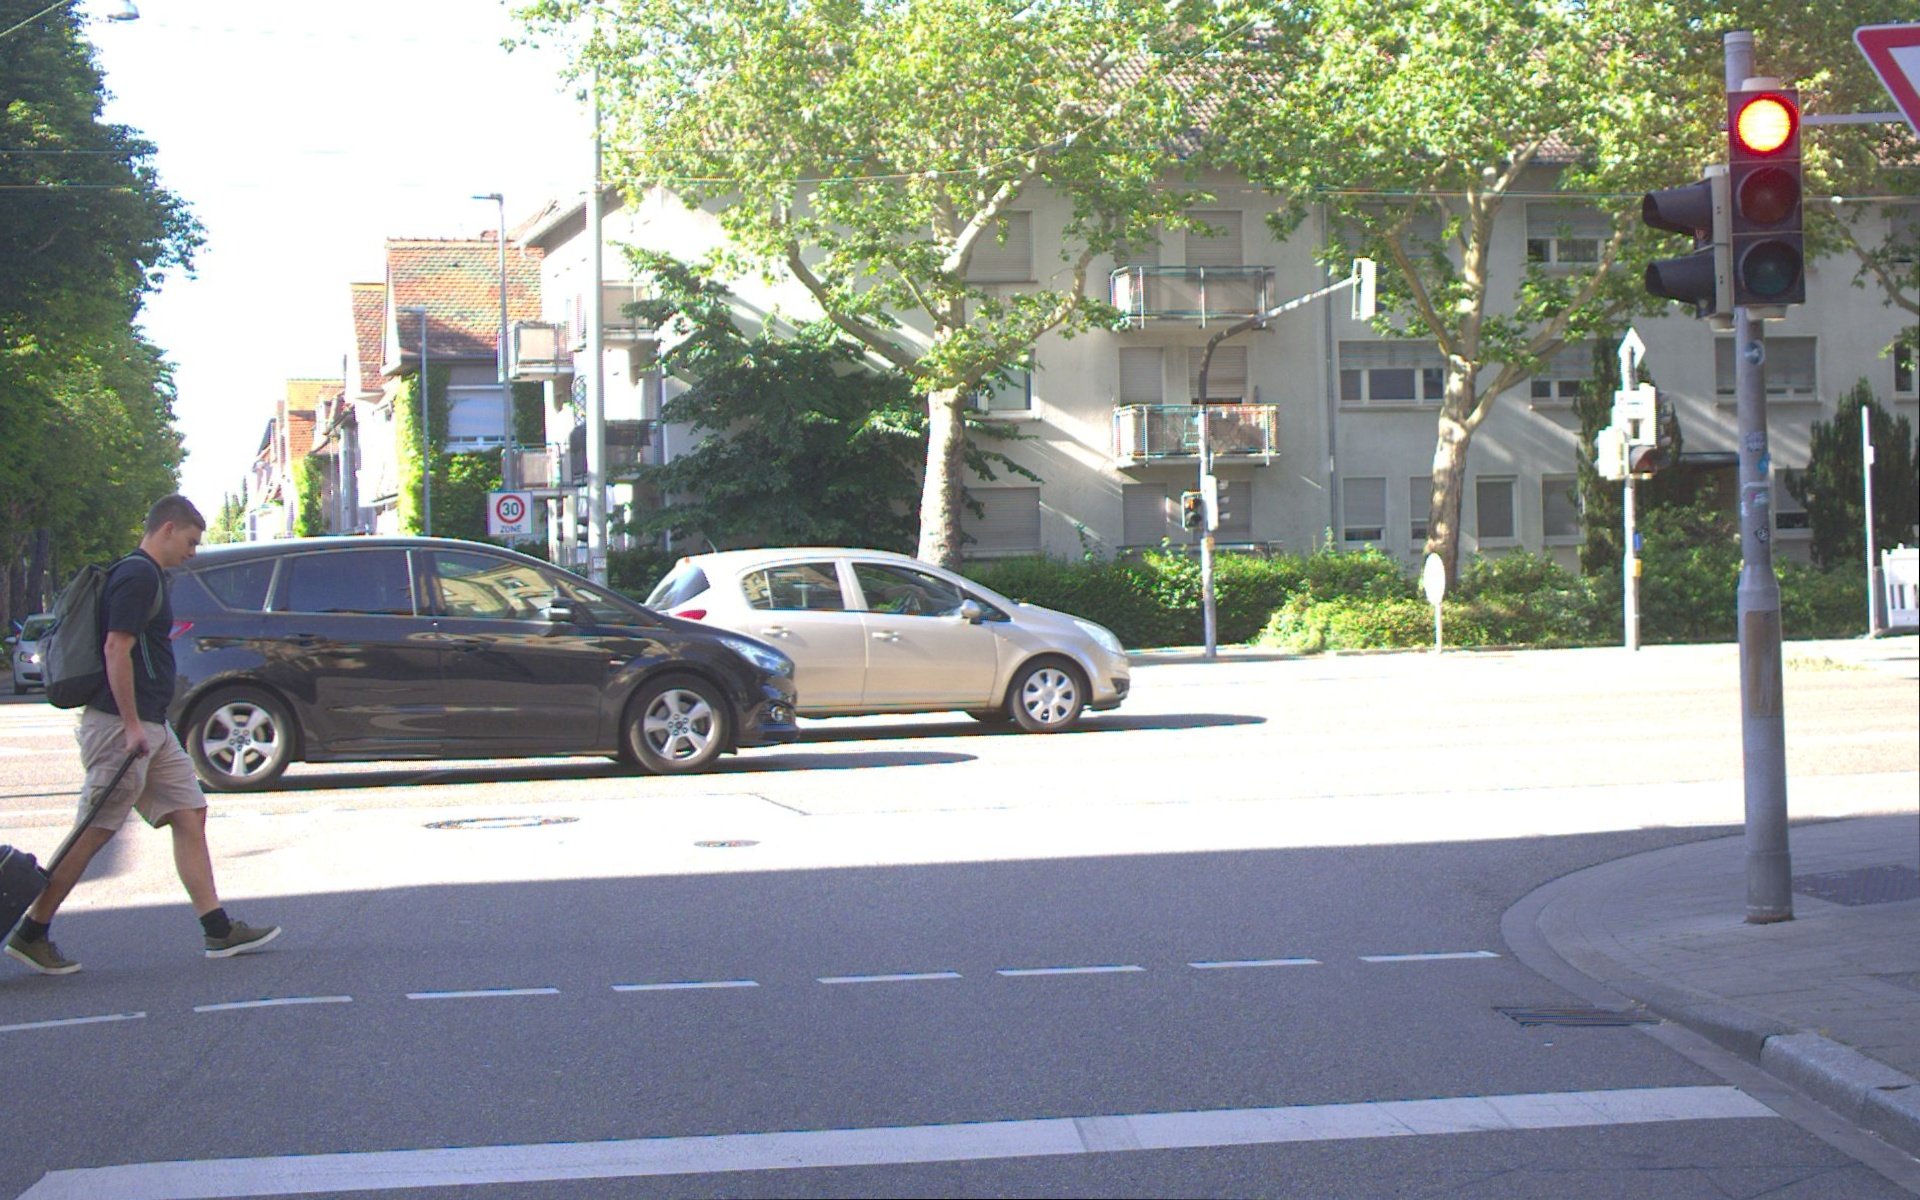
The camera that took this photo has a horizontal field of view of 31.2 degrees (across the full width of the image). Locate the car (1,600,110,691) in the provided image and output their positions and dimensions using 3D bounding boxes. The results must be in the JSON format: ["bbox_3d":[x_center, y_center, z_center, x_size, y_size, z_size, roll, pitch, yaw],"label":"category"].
[{"bbox_3d":[-16.641,0.811,63.353,1.698,1.478,3.535,-3,1,-12],"label":"car"}]

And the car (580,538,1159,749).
[{"bbox_3d":[-0.723,0.300,26.922,4.200,1.451,1.679,-2,2,-17],"label":"car"}]

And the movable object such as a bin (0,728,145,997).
[{"bbox_3d":[-3.399,0.945,12.352,0.862,0.889,0.509,-4,1,-13],"label":"movable object such as a bin"}]

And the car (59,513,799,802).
[{"bbox_3d":[-3.568,0.338,22.980,4.659,1.659,1.731,-2,1,-16],"label":"car"}]

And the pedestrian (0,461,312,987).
[{"bbox_3d":[-3.010,0.436,12.793,1.065,1.842,0.749,-3,1,-13],"label":"pedestrian"}]
